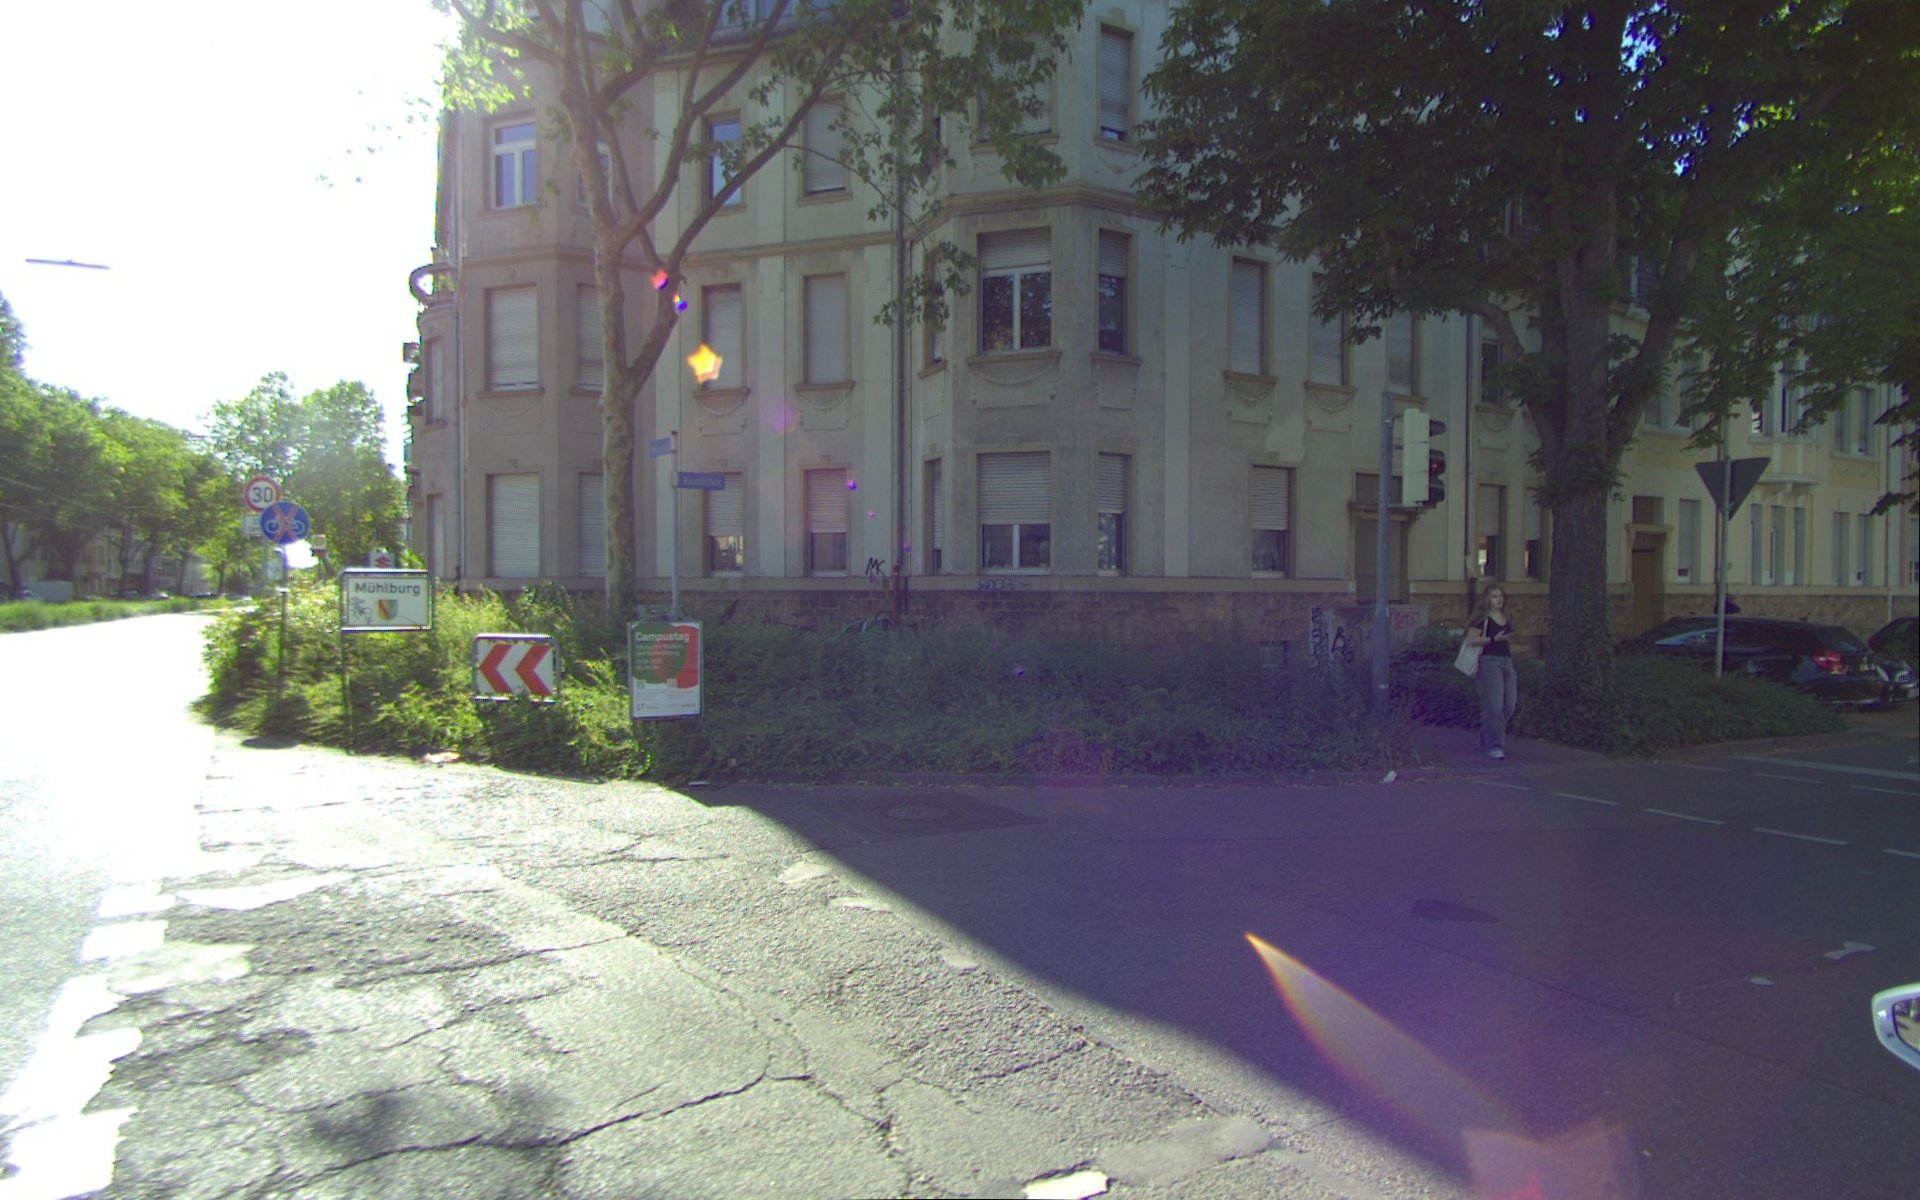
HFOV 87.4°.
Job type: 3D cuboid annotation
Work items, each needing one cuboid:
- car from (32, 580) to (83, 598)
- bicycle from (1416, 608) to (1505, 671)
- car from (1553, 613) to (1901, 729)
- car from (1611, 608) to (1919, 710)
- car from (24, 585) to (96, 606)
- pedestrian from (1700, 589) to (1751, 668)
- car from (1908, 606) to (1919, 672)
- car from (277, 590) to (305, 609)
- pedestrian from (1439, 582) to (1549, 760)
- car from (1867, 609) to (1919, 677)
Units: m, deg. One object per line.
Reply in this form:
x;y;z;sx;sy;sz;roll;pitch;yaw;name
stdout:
-91.838;-1.143;102.238;3.782;1.729;1.822;-2;4;-44;car
10.074;0.781;20.186;1.956;1.170;0.512;-1;3;-27;bicycle
11.272;0.947;15.077;1.594;1.495;3.869;0;-1;-26;car
13.291;0.883;16.685;1.597;1.434;3.860;0;0;-32;car
-82.904;-0.416;92.583;1.811;1.729;4.589;2;3;23;car
16.565;0.604;21.740;0.880;1.680;0.459;0;1;-19;pedestrian
22.825;0.909;21.416;1.680;1.471;3.424;1;1;-24;car
-68.200;-0.066;102.434;1.961;1.861;4.083;0;0;-29;car
5.318;0.675;10.025;0.669;1.704;0.693;0;0;-16;pedestrian
20.978;0.923;19.854;1.681;1.367;4.197;1;1;-26;car
